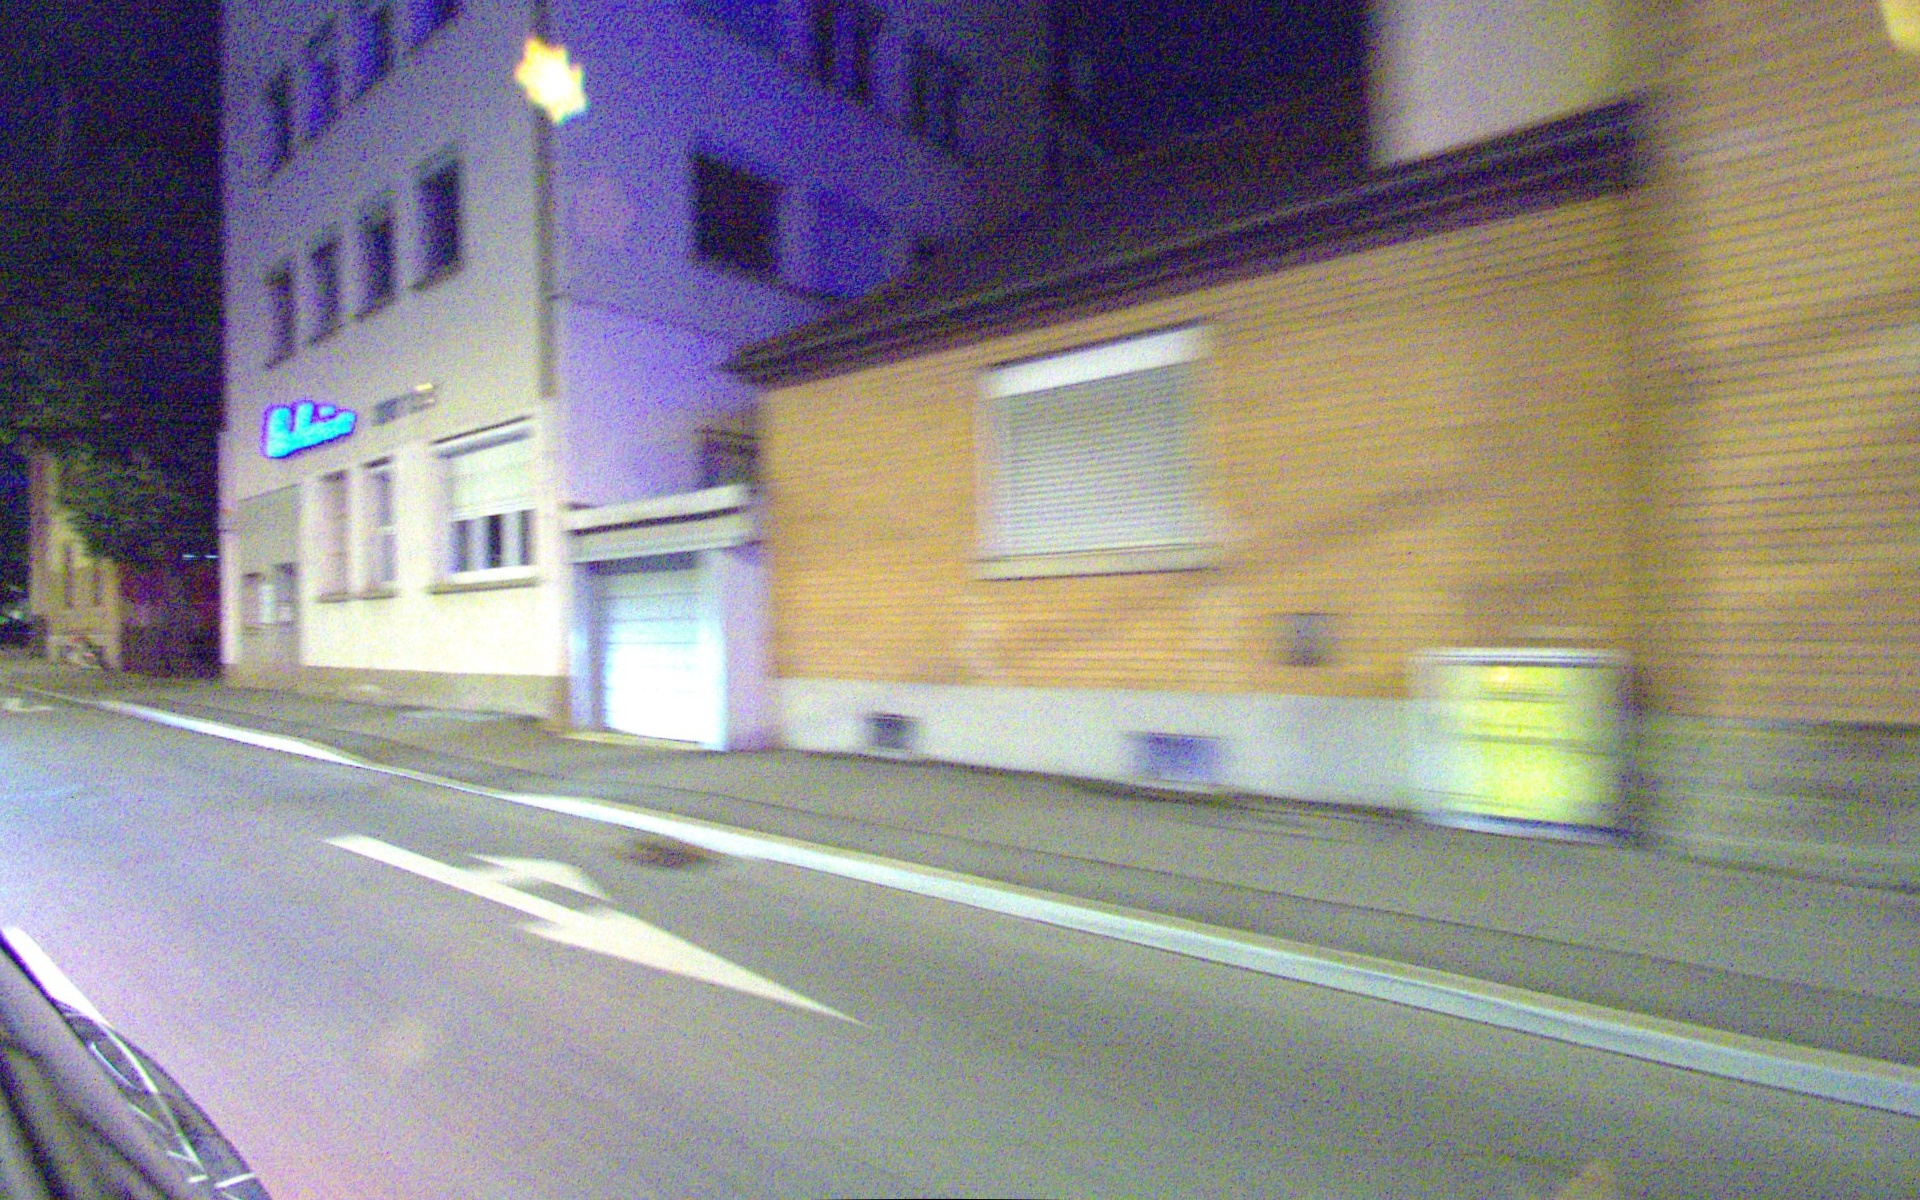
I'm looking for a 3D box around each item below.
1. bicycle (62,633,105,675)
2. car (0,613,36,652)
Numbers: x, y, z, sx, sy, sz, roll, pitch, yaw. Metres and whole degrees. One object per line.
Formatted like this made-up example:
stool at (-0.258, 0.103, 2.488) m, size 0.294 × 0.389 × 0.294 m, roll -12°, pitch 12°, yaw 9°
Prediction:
bicycle at (-23.398, 1.417, 27.003) m, size 1.720 × 1.059 × 0.613 m, roll -1°, pitch -1°, yaw 40°
car at (-48.904, 1.650, 50.534) m, size 3.935 × 1.903 × 1.913 m, roll 0°, pitch 0°, yaw -38°
